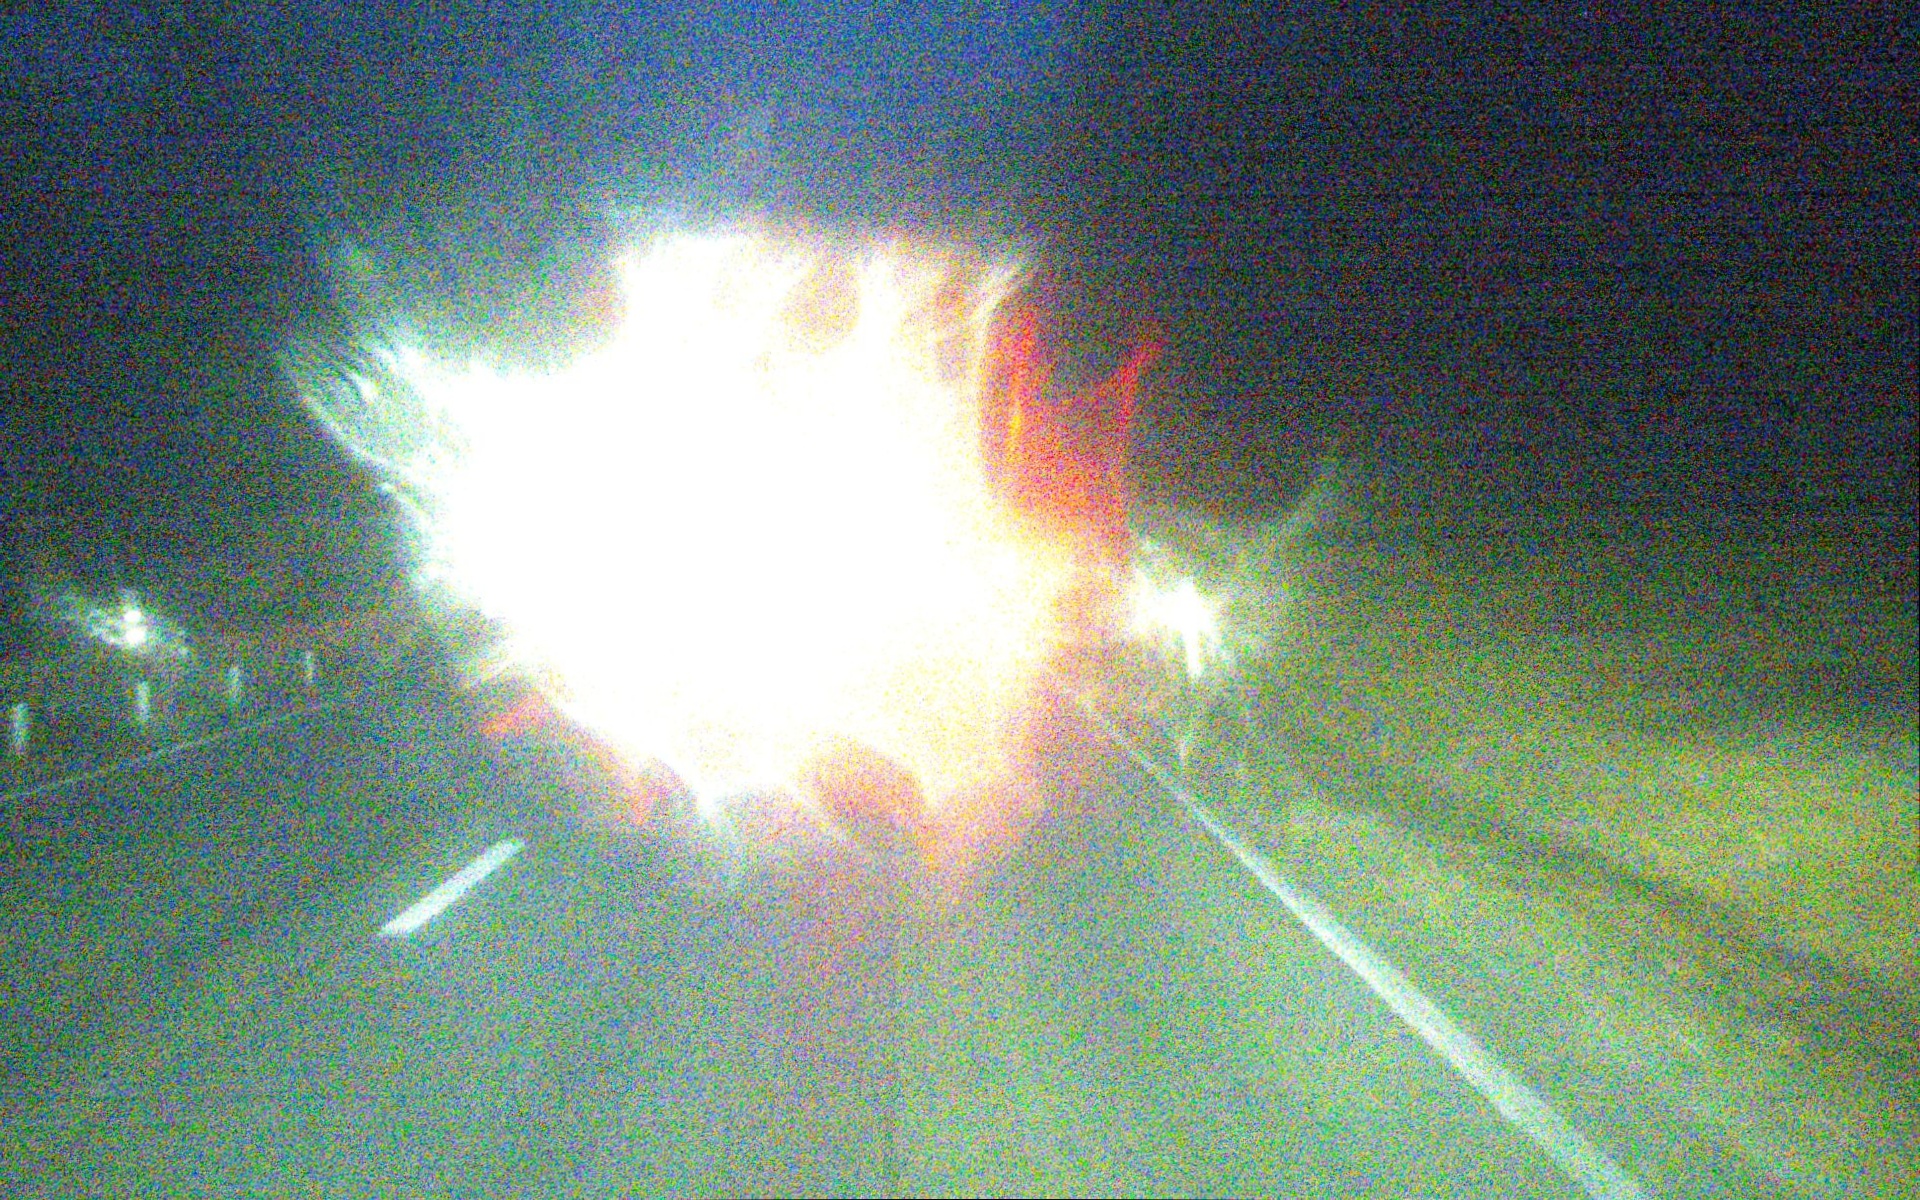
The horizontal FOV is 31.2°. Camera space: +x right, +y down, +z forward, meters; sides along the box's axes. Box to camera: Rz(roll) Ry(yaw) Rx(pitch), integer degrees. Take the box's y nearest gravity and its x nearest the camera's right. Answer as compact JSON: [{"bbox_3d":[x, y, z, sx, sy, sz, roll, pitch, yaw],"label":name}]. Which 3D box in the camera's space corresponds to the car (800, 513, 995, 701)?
[{"bbox_3d":[-0.743,0.024,38.080,1.993,1.800,3.918,-2,3,-3],"label":"car"}]
